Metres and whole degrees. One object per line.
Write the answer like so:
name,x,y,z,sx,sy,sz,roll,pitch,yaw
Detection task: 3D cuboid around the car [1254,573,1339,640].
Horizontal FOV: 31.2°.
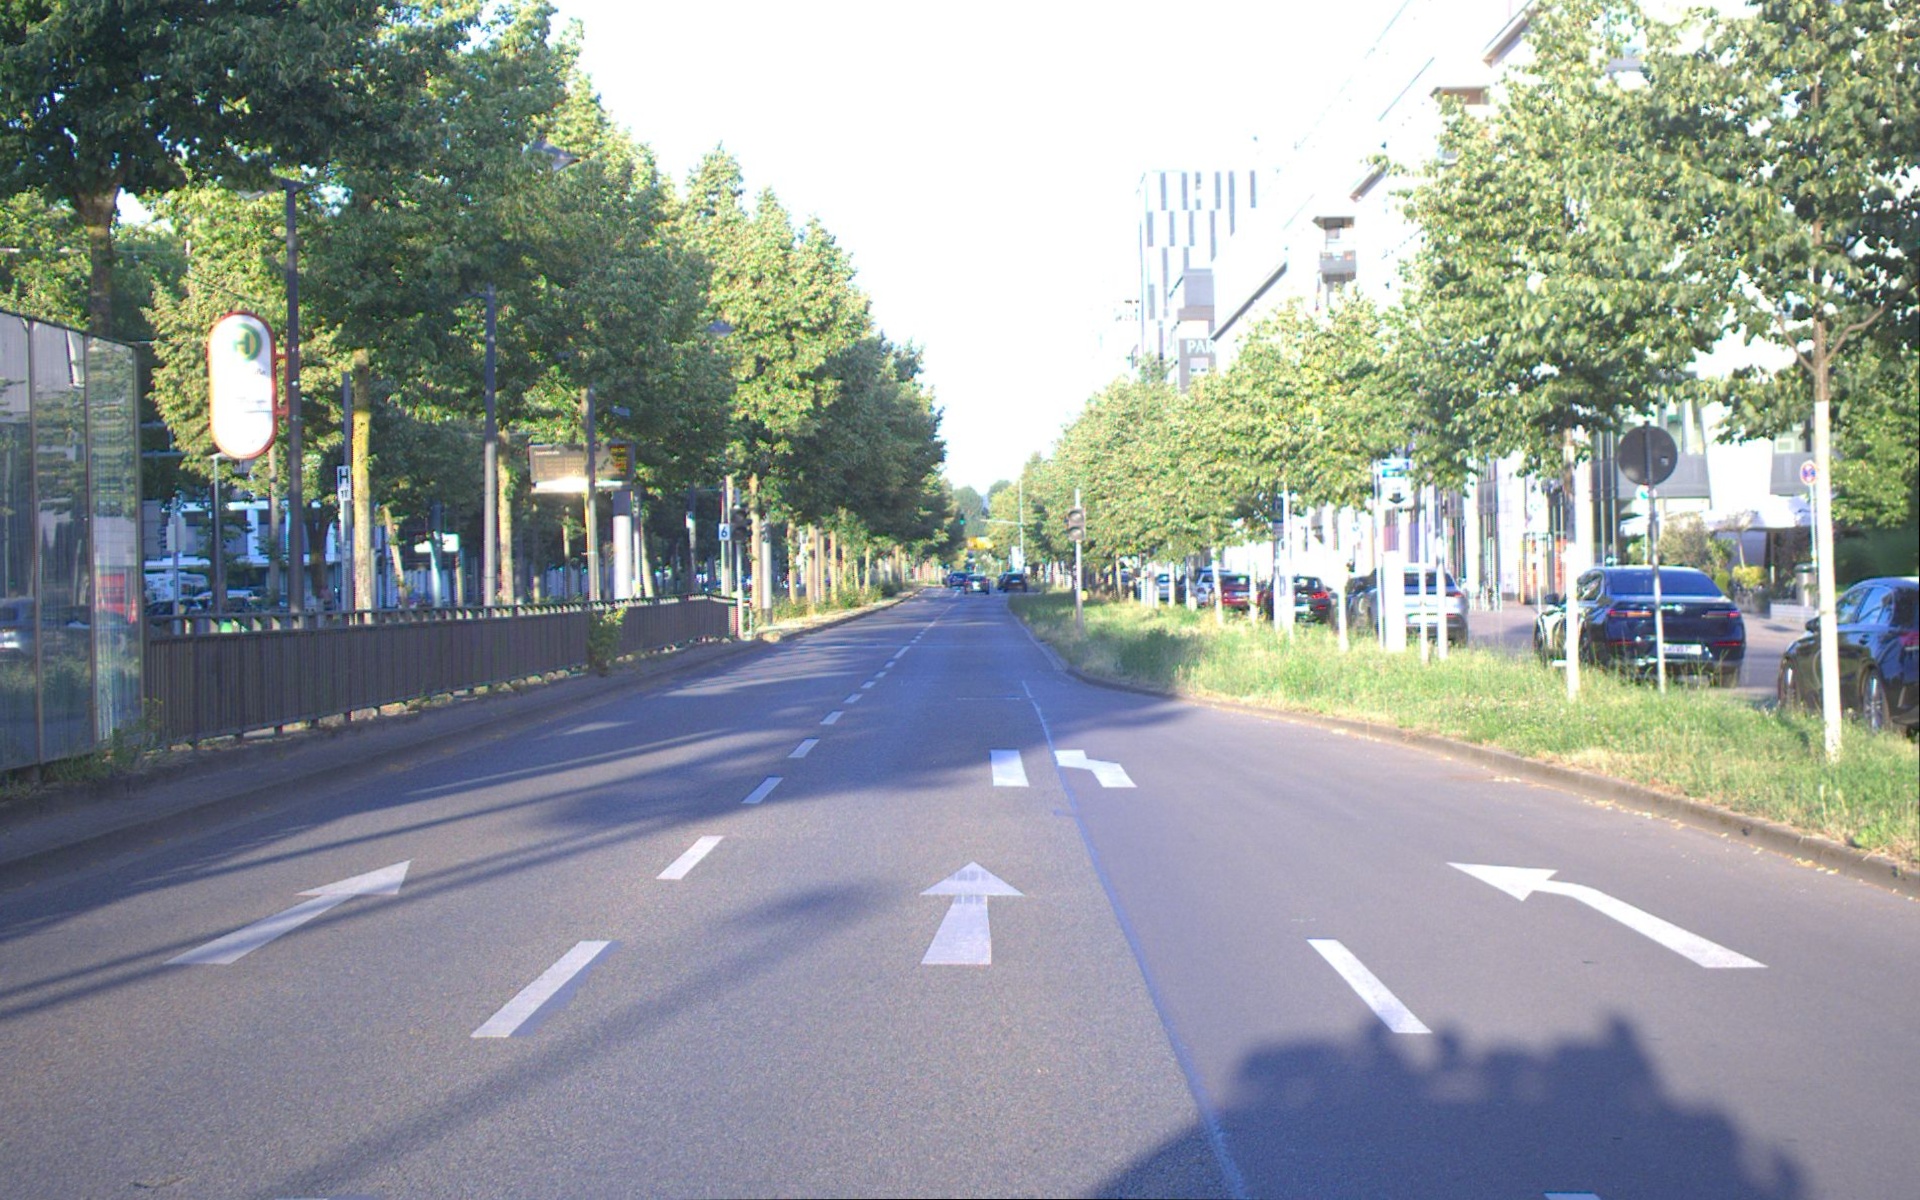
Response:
car,8.808,0.156,90.359,2.029,1.691,4.397,1,0,3

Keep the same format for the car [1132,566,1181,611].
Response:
car,9.216,-0.543,161.241,1.993,2.007,4.000,-1,0,-1

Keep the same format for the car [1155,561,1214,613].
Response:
car,8.877,-0.531,136.116,1.993,2.007,4.000,-1,0,-1

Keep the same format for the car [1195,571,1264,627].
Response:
car,8.921,-0.045,114.083,1.894,1.765,3.947,-1,0,-1

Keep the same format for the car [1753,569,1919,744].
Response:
car,8.481,0.457,30.438,1.824,1.430,4.460,1,0,-1

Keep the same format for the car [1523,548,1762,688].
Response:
car,8.729,0.205,44.382,1.993,1.691,4.594,1,0,-2

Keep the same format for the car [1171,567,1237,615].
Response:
car,8.570,-0.325,120.886,1.771,1.630,3.562,-1,0,-5

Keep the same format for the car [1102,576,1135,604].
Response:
car,9.363,-0.603,203.456,1.695,1.590,4.000,-2,0,-1

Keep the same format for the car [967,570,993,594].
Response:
car,1.404,-1.267,243.052,1.695,1.590,4.000,-2,0,-1

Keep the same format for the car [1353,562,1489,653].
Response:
car,8.993,0.134,67.373,1.993,1.691,4.415,1,0,-1
